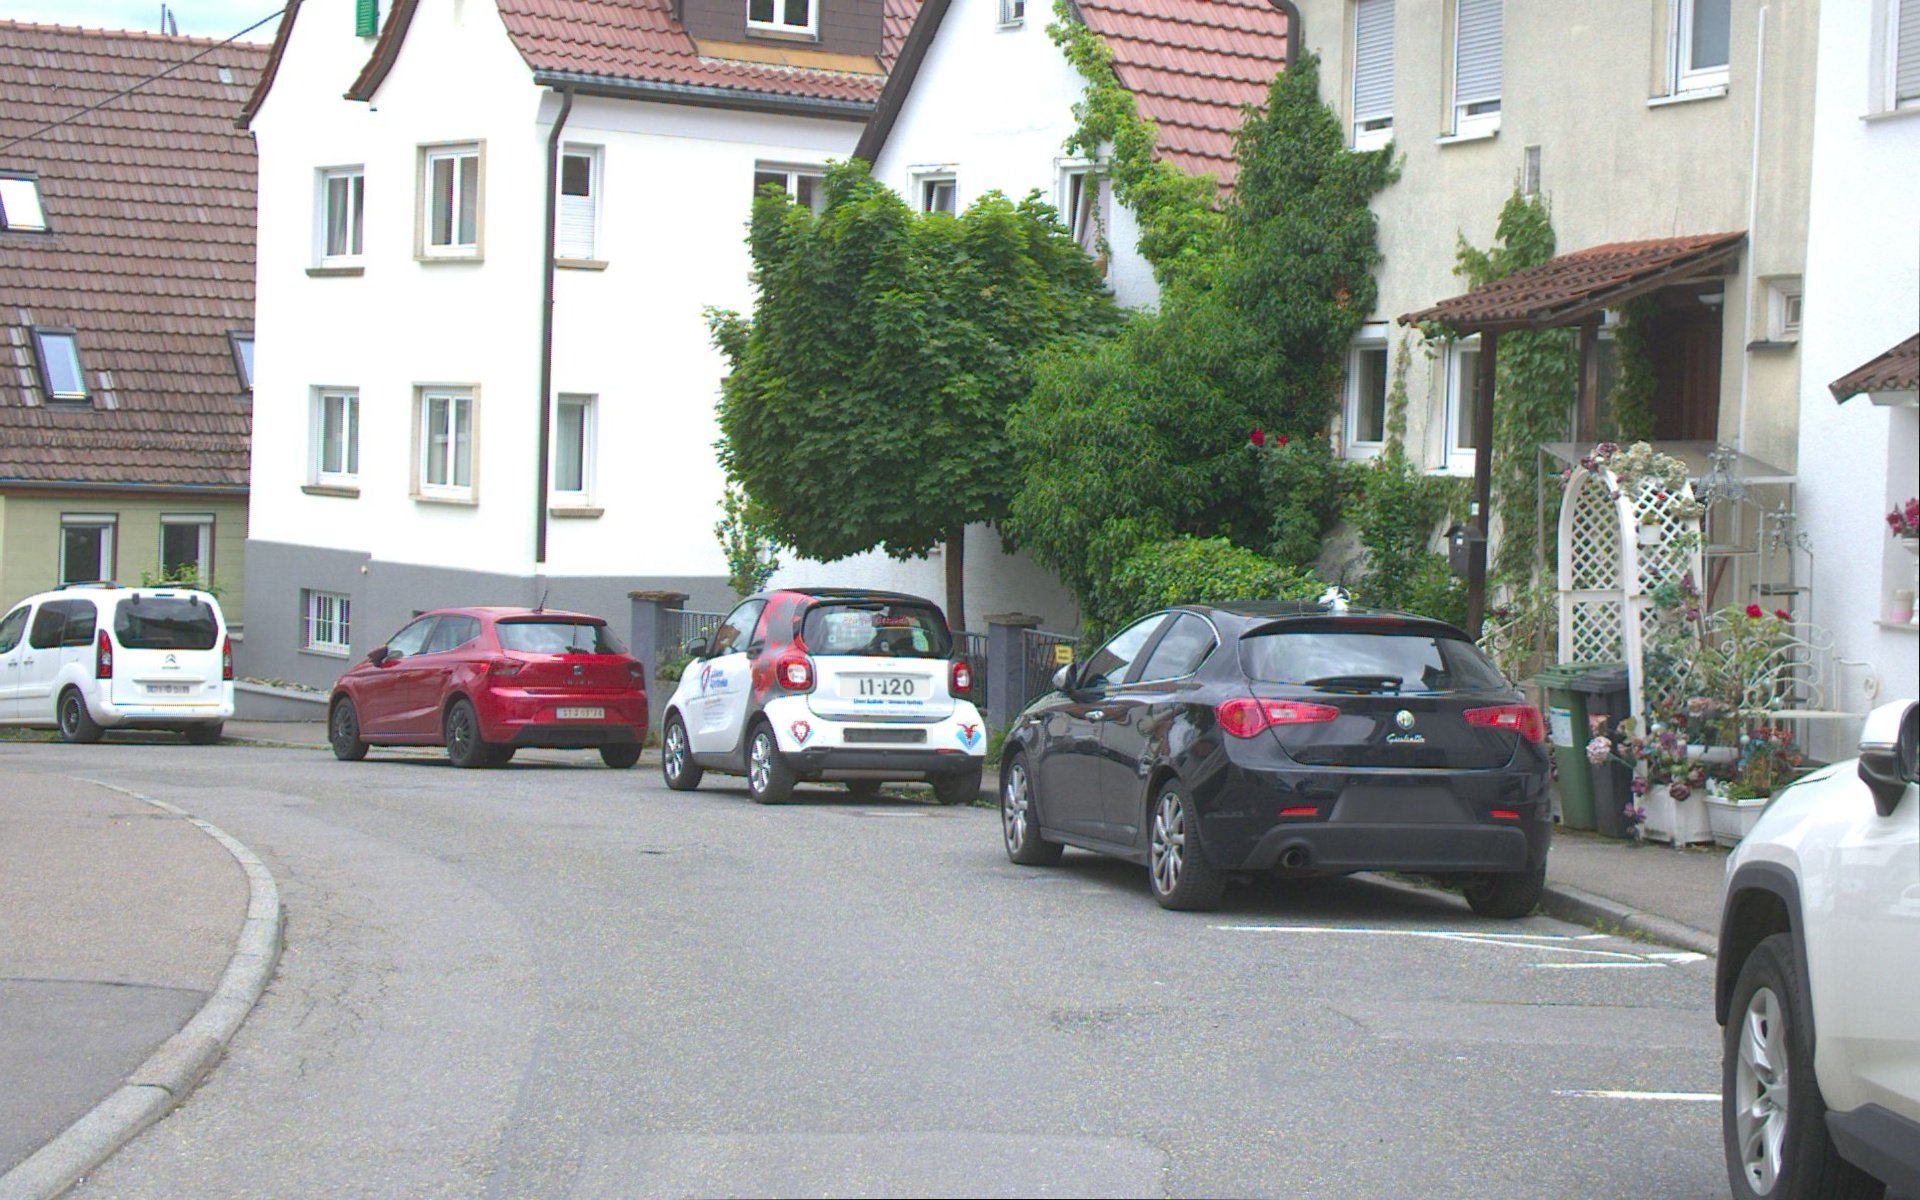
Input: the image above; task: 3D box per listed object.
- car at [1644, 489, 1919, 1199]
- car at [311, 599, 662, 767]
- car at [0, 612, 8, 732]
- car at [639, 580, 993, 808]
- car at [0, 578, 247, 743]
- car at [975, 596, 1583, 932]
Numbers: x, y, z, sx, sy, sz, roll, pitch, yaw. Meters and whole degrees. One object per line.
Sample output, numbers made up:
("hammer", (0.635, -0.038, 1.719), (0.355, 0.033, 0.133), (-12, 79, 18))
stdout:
("car", (2.769, 0.664, 6.333), (1.946, 1.634, 4.461), (3, 1, -1))
("car", (-4.406, 0.757, 31.576), (1.679, 1.447, 3.851), (2, -2, -33))
("car", (-13.936, 0.927, 43.790), (1.734, 1.501, 4.048), (2, -3, -44))
("car", (-1.115, 0.680, 25.492), (1.611, 1.527, 2.897), (4, -2, -24))
("car", (-10.180, 0.708, 39.857), (1.836, 1.808, 4.302), (2, -2, -41))
("car", (1.441, 0.735, 17.178), (1.717, 1.402, 4.004), (2, 0, -15))
